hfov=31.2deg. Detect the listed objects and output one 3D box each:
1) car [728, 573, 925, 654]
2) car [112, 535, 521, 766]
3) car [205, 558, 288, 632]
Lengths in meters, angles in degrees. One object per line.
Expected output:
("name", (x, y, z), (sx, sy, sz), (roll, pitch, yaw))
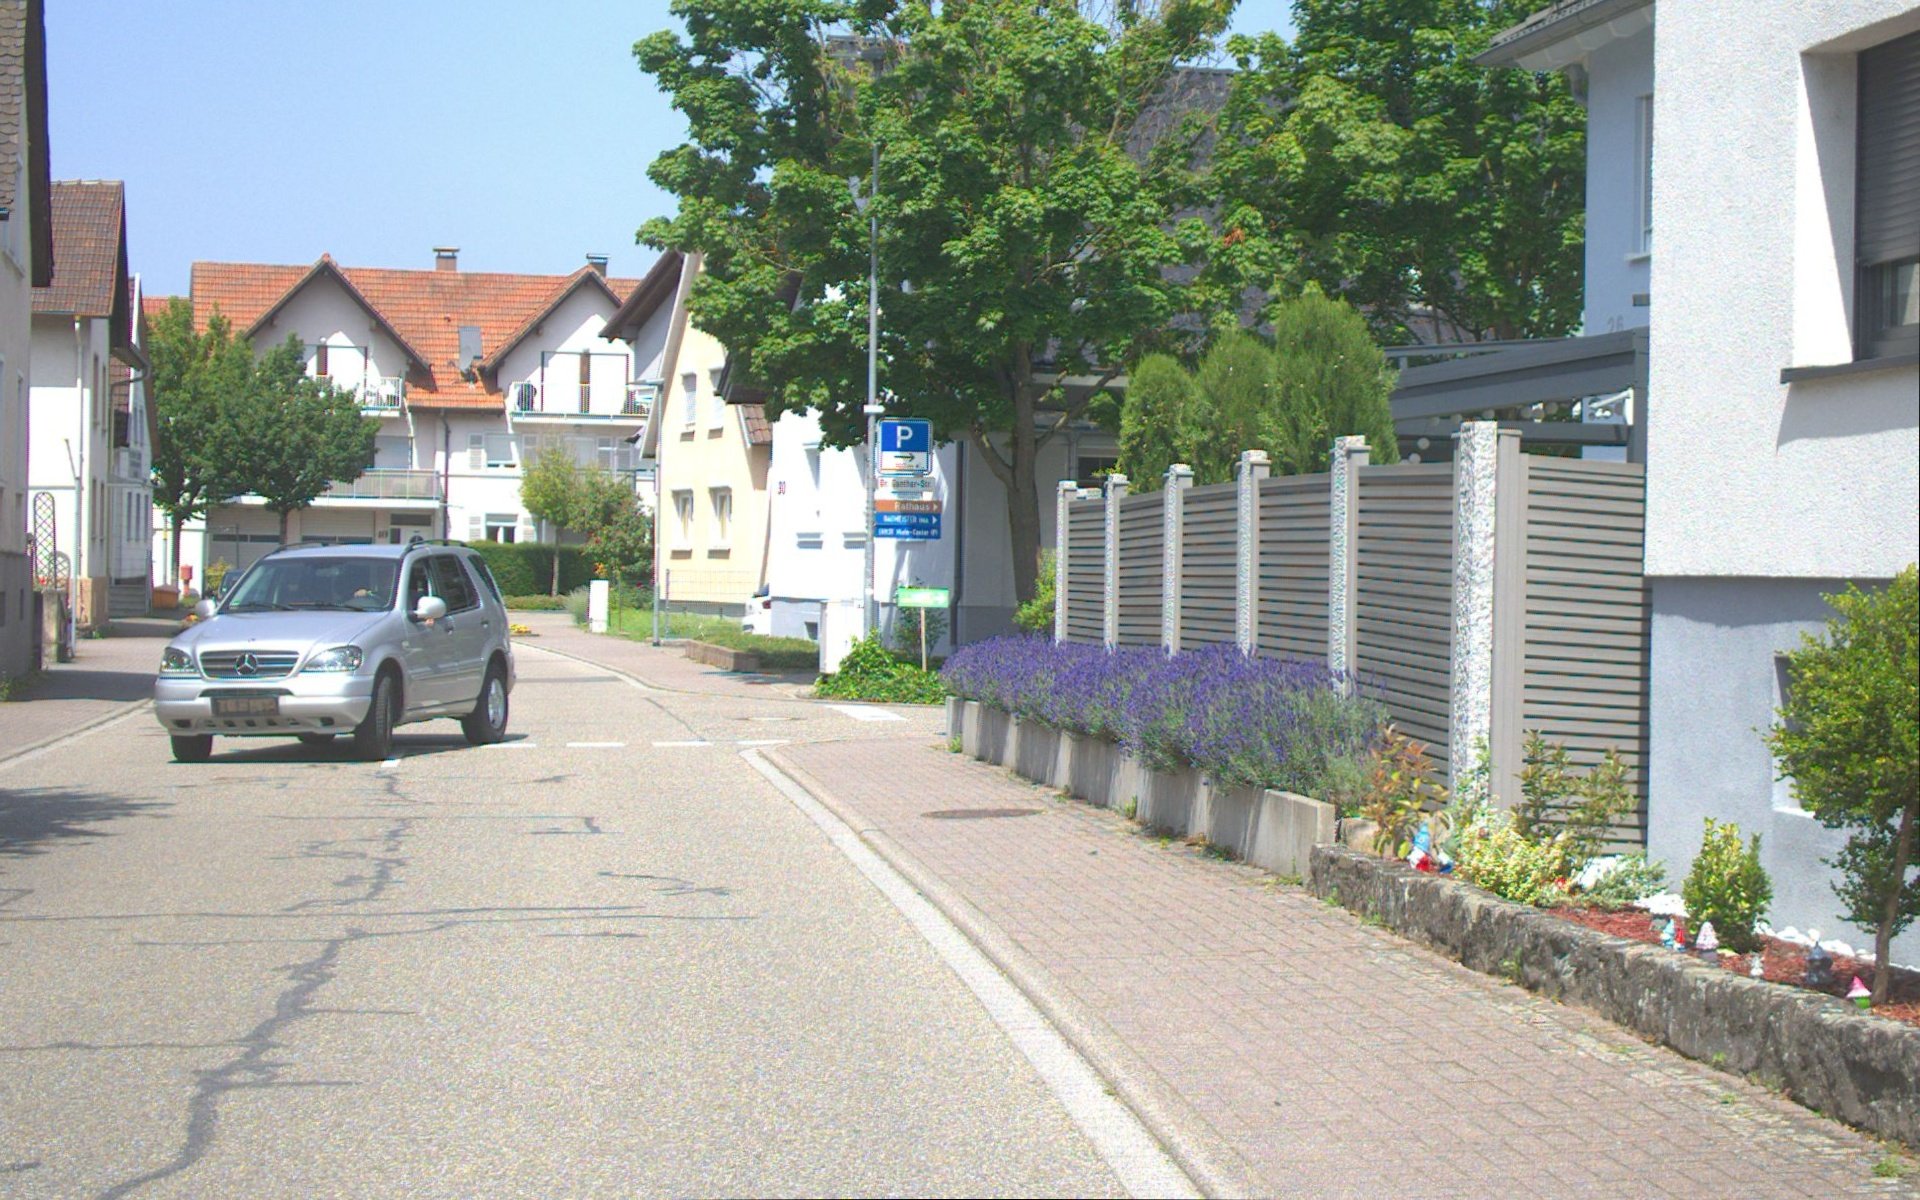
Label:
("car", (-2.257, 0.235, 57.998), (3.042, 1.341, 1.423), (0, -1, -18))
("car", (-5.233, 0.369, 28.590), (1.886, 1.761, 4.329), (0, 1, 11))
("car", (-14.784, -0.129, 71.131), (1.626, 1.481, 4.001), (0, 1, -12))
